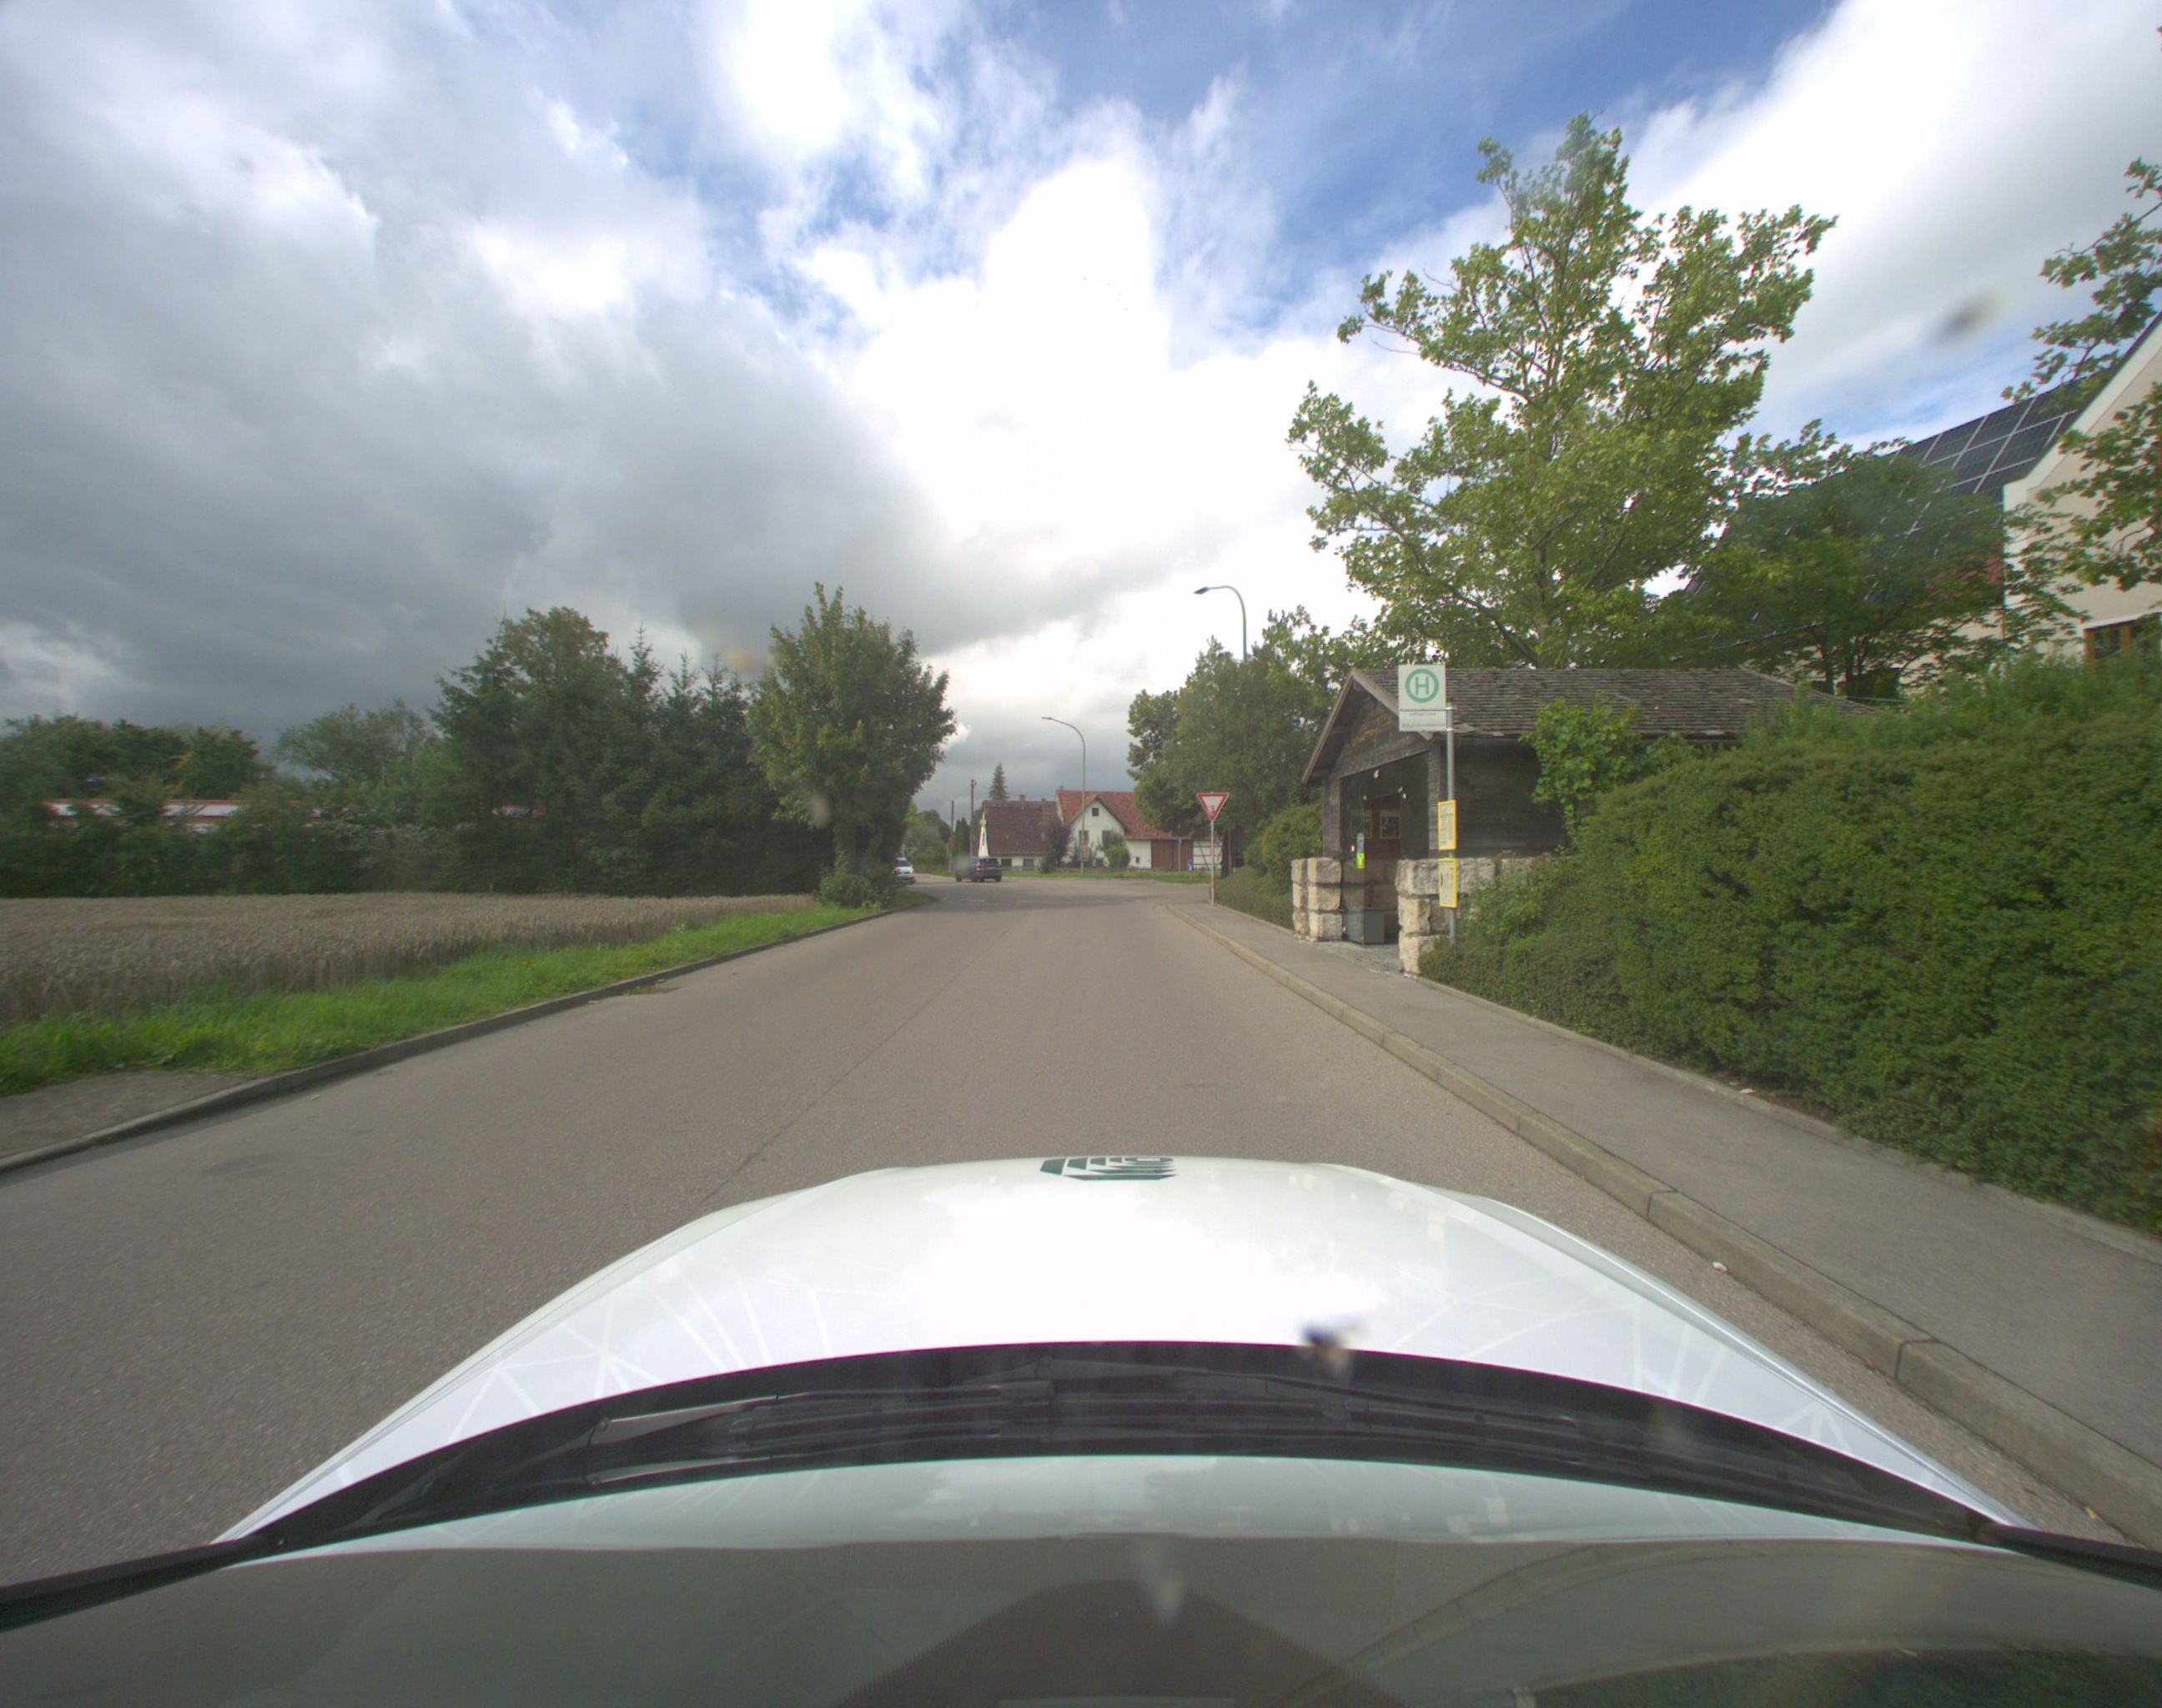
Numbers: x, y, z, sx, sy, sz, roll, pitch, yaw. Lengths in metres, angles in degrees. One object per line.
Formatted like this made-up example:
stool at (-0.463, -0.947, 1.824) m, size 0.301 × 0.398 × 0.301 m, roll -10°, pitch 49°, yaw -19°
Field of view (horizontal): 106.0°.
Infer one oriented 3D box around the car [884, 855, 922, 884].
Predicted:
car at (-11.173, 0.956, 51.021) m, size 1.705 × 1.665 × 4.004 m, roll -1°, pitch 0°, yaw -21°

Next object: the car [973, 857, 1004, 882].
car at (-5.636, 0.902, 50.125) m, size 1.796 × 1.462 × 3.655 m, roll 0°, pitch 0°, yaw -5°
